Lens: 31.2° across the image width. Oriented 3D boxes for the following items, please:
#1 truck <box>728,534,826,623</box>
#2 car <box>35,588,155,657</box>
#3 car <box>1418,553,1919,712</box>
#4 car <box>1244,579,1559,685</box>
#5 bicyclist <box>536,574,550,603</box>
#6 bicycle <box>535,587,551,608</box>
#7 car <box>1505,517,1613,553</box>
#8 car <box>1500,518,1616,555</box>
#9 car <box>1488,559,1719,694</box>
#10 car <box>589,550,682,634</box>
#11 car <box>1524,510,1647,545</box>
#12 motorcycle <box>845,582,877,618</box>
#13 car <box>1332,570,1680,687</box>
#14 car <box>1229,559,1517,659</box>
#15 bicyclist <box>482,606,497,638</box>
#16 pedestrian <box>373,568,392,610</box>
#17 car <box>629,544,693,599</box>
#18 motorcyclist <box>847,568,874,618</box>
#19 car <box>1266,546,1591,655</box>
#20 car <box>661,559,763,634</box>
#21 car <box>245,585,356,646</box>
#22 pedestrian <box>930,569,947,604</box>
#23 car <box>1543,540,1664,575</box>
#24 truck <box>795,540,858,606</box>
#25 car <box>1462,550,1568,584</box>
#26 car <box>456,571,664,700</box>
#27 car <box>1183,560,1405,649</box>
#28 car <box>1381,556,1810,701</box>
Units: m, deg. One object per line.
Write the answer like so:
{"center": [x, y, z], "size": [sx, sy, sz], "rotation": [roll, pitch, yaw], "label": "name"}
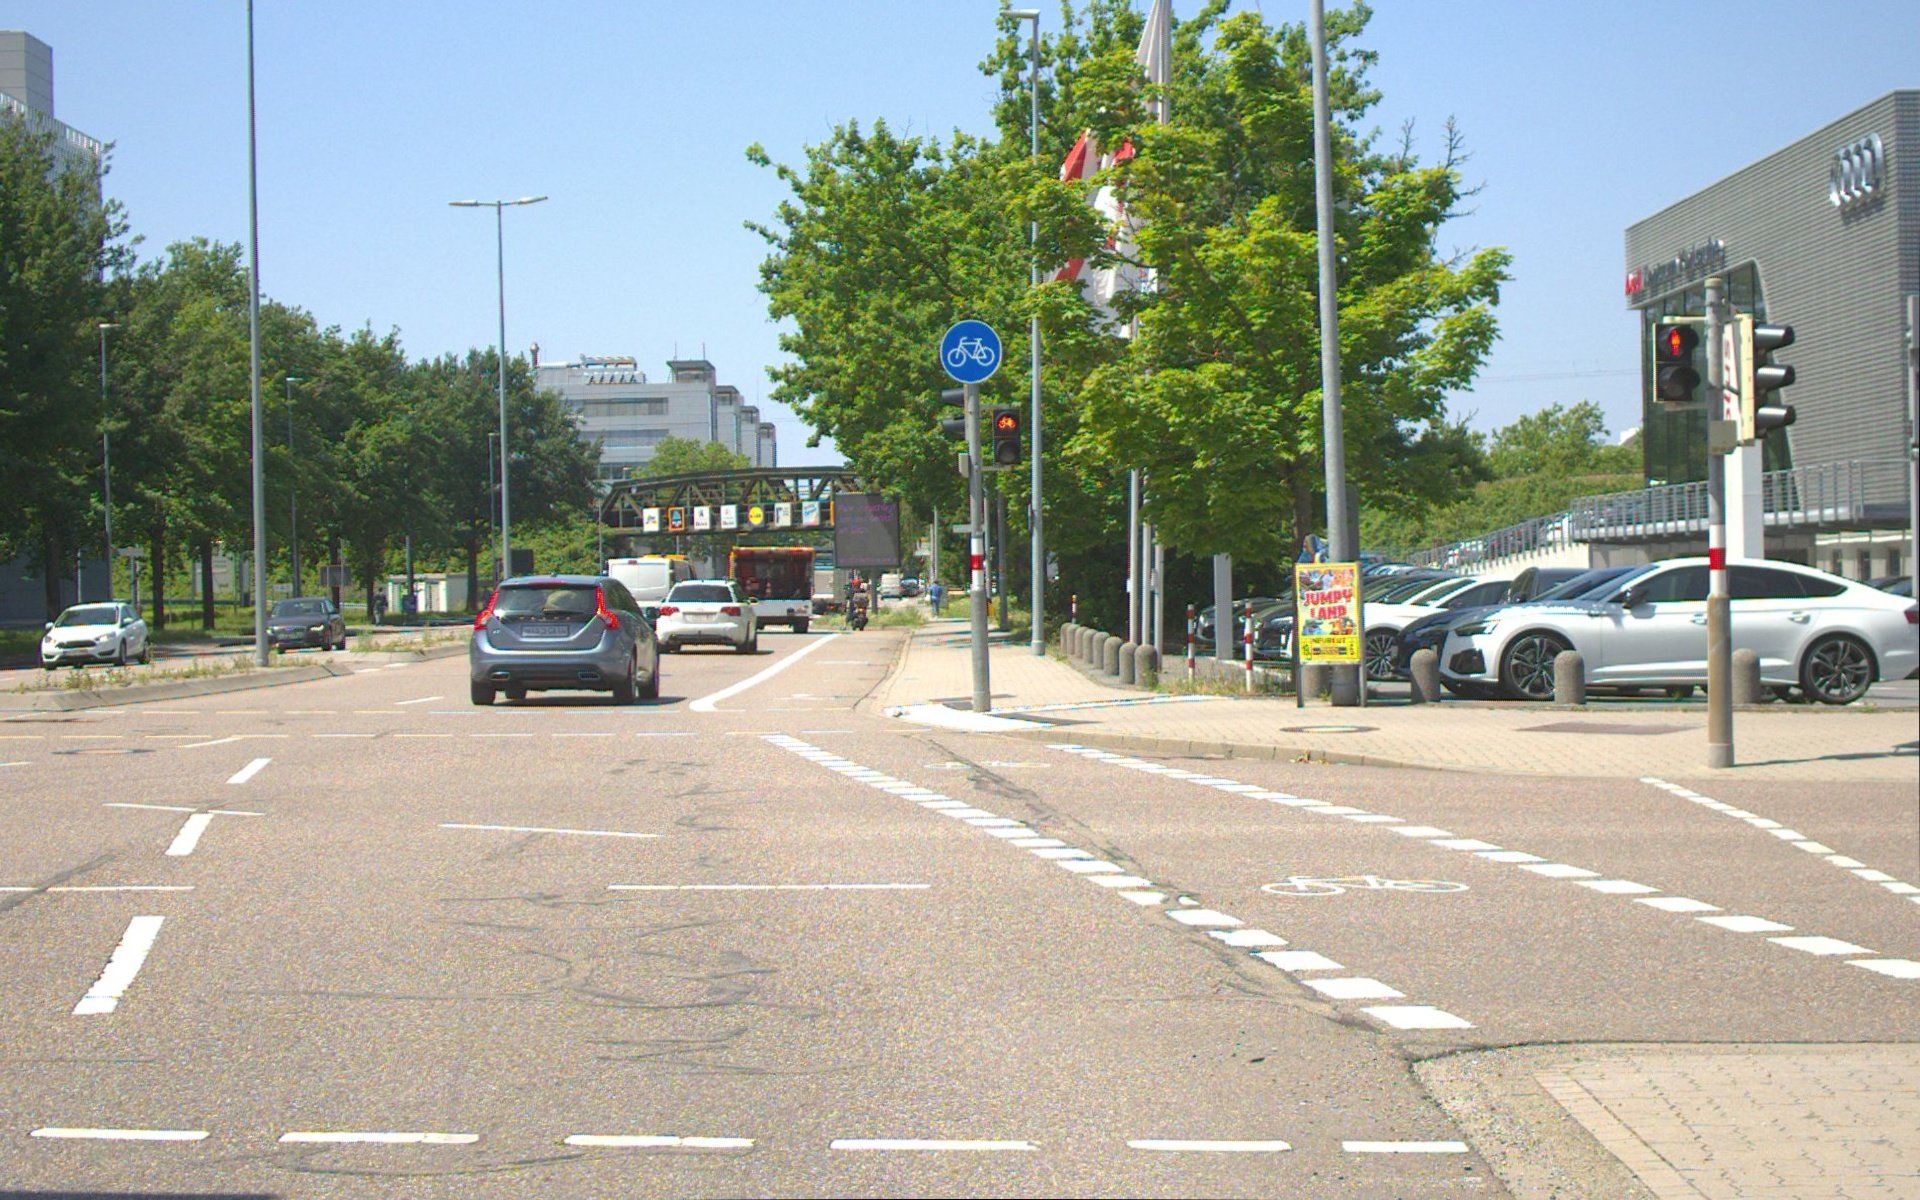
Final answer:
{"center": [-5.136, -0.615, 97.510], "size": [2.458, 2.402, 7.134], "rotation": [1, 1, -1], "label": "truck"}
{"center": [-19.739, 0.503, 78.563], "size": [1.743, 1.481, 4.000], "rotation": [-2, 0, -1], "label": "car"}
{"center": [6.847, 0.300, 33.261], "size": [4.592, 1.385, 1.869], "rotation": [1, 0, 2], "label": "car"}
{"center": [6.280, 0.443, 49.198], "size": [4.226, 1.385, 1.869], "rotation": [1, 0, 0], "label": "car"}
{"center": [-23.366, -0.657, 192.581], "size": [0.633, 1.623, 1.045], "rotation": [-3, 0, -1], "label": "bicyclist"}
{"center": [-23.344, -0.126, 192.641], "size": [0.629, 1.155, 2.117], "rotation": [-3, 0, -1], "label": "bicycle"}
{"center": [21.711, -2.358, 124.637], "size": [3.523, 1.235, 1.677], "rotation": [1, 0, -5], "label": "car"}
{"center": [22.498, -2.373, 129.417], "size": [3.986, 1.307, 1.798], "rotation": [1, 0, -5], "label": "car"}
{"center": [7.347, 0.276, 39.691], "size": [1.863, 1.415, 4.662], "rotation": [1, 0, 1], "label": "car"}
{"center": [-8.075, -0.213, 85.767], "size": [1.993, 2.007, 4.000], "rotation": [-1, 0, -1], "label": "car"}
{"center": [21.895, -2.523, 120.412], "size": [3.938, 1.207, 1.718], "rotation": [0, 0, -5], "label": "car"}
{"center": [-3.068, -0.010, 106.134], "size": [0.716, 1.101, 1.831], "rotation": [1, 0, -10], "label": "motorcycle"}
{"center": [6.895, 0.354, 43.711], "size": [4.096, 1.360, 1.874], "rotation": [1, 0, 0], "label": "car"}
{"center": [6.234, 0.129, 52.190], "size": [4.101, 1.400, 1.869], "rotation": [1, 0, 0], "label": "car"}
{"center": [-23.567, 1.093, 172.354], "size": [0.637, 1.577, 0.884], "rotation": [-1, 0, -3], "label": "bicyclist"}
{"center": [-26.141, -0.497, 155.583], "size": [0.743, 1.878, 0.577], "rotation": [-1, 0, 0], "label": "pedestrian"}
{"center": [-11.154, -1.079, 128.561], "size": [1.993, 2.007, 4.813], "rotation": [1, 1, -1], "label": "car"}
{"center": [-3.068, -0.223, 106.135], "size": [0.719, 1.524, 0.871], "rotation": [1, 0, -10], "label": "motorcyclist"}
{"center": [6.298, -0.003, 46.505], "size": [4.099, 1.344, 1.869], "rotation": [1, 0, 0], "label": "car"}
{"center": [-4.780, -0.087, 66.665], "size": [1.744, 1.391, 3.529], "rotation": [-1, 1, -1], "label": "car"}
{"center": [-16.859, 0.391, 88.074], "size": [1.726, 1.441, 4.719], "rotation": [-3, 0, 2], "label": "car"}
{"center": [-0.840, -0.522, 134.010], "size": [0.623, 1.370, 0.564], "rotation": [-1, 0, -2], "label": "pedestrian"}
{"center": [21.822, -1.422, 116.690], "size": [3.724, 1.127, 1.684], "rotation": [1, 0, -5], "label": "car"}
{"center": [-5.867, -1.207, 151.594], "size": [2.615, 2.841, 5.615], "rotation": [1, 1, -1], "label": "truck"}
{"center": [22.901, -1.353, 141.900], "size": [3.986, 1.307, 1.798], "rotation": [-1, 0, -5], "label": "car"}
{"center": [-4.529, 0.371, 39.486], "size": [1.900, 1.371, 4.232], "rotation": [-1, 0, 0], "label": "car"}
{"center": [5.825, 0.078, 60.296], "size": [3.681, 1.448, 1.834], "rotation": [1, 0, 0], "label": "car"}
{"center": [6.577, 0.285, 35.916], "size": [4.096, 1.385, 1.869], "rotation": [1, 0, 0], "label": "car"}
